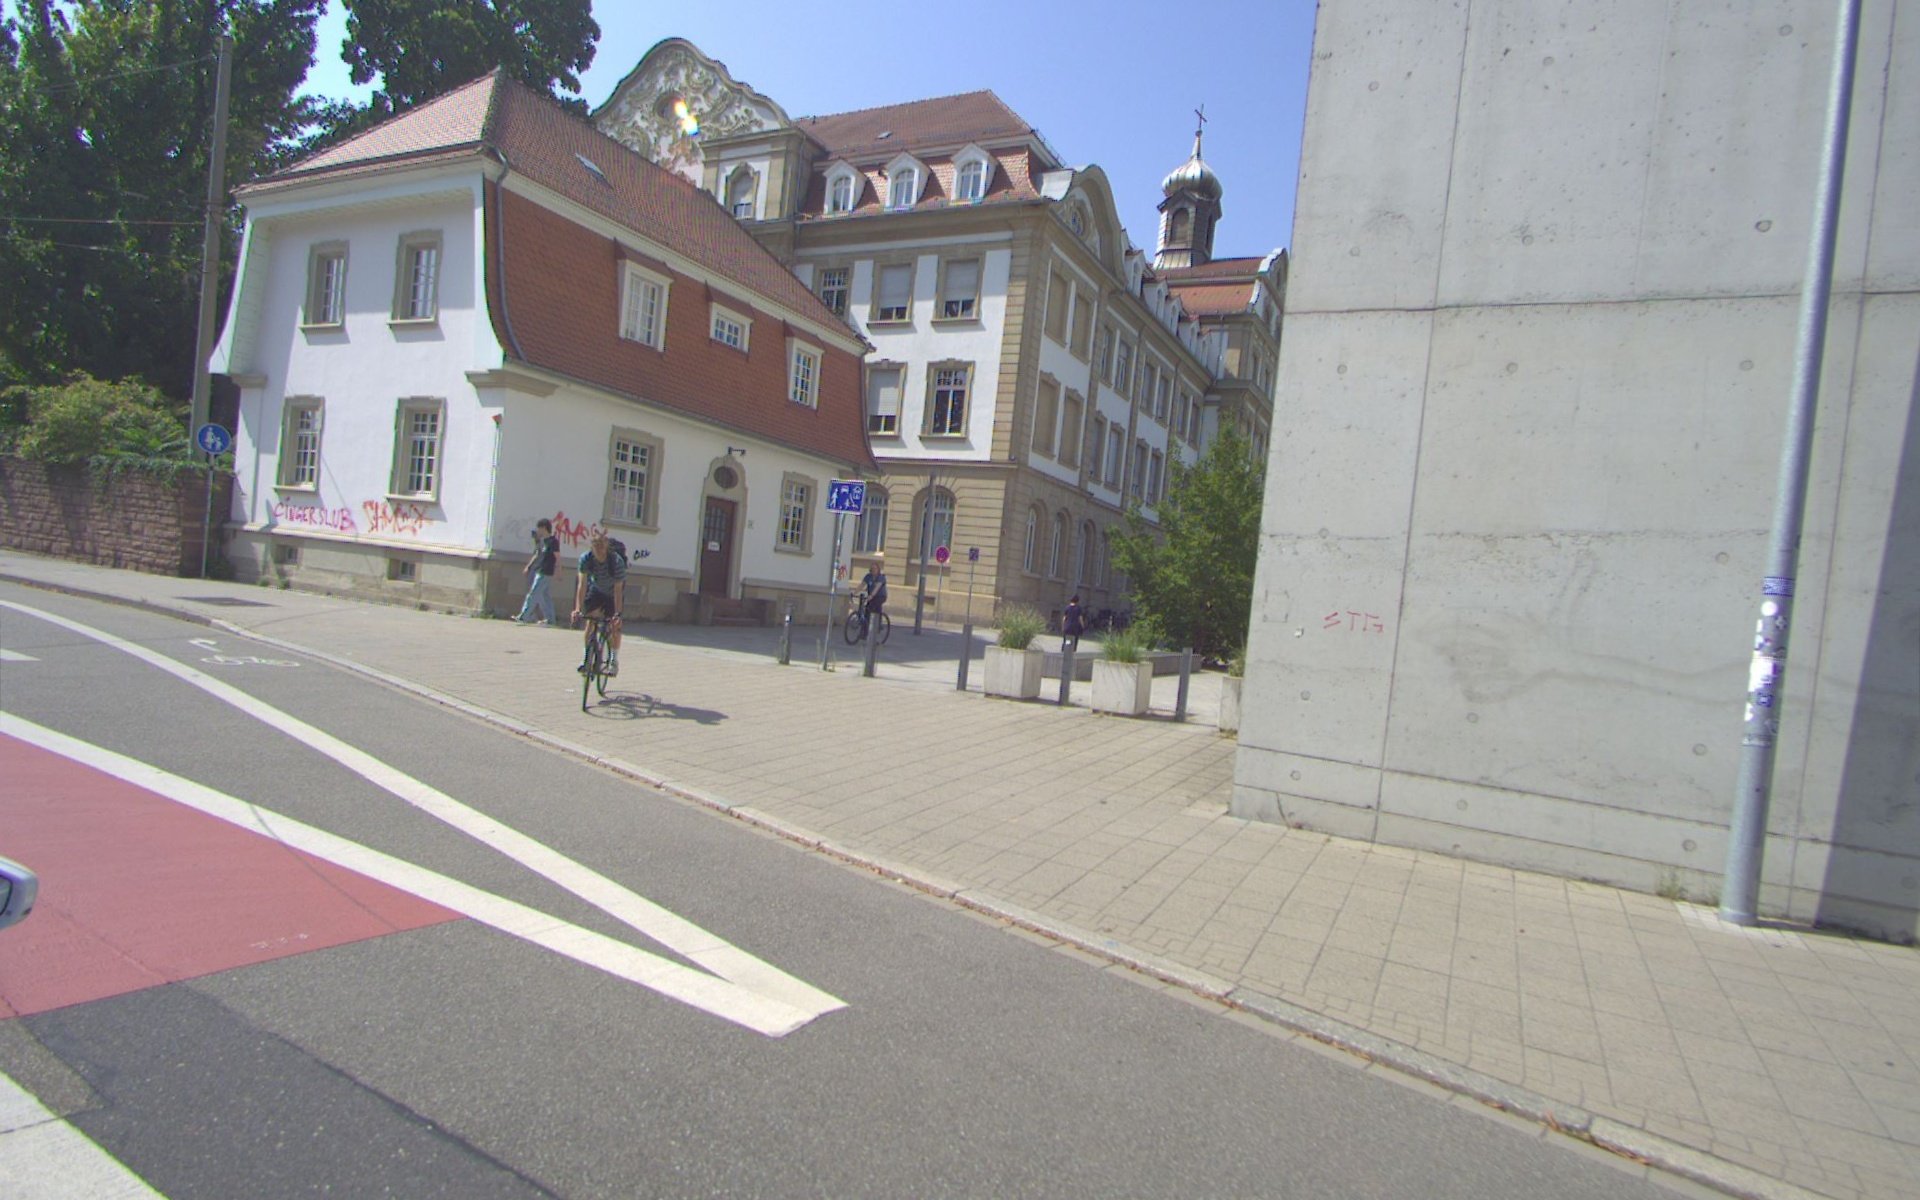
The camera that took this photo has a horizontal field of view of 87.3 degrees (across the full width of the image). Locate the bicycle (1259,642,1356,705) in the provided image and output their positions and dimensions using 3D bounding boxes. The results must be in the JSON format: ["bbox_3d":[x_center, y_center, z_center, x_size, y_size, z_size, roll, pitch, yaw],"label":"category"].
[{"bbox_3d":[6.898,1.437,20.004,1.642,1.013,0.613,7,4,39],"label":"bicycle"}]

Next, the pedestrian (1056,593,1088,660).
[{"bbox_3d":[2.820,0.657,25.334,0.592,1.599,0.741,6,2,10],"label":"pedestrian"}]

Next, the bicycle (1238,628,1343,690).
[{"bbox_3d":[5.985,1.063,18.256,1.658,0.967,0.618,4,0,34],"label":"bicycle"}]

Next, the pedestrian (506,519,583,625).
[{"bbox_3d":[-7.096,-0.476,17.194,0.720,1.687,0.874,7,1,44],"label":"pedestrian"}]

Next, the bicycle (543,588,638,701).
[{"bbox_3d":[-3.830,0.420,10.542,0.606,1.012,1.707,6,1,-12],"label":"bicycle"}]

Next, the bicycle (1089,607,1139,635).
[{"bbox_3d":[6.935,0.946,45.384,2.099,1.016,0.492,6,2,27],"label":"bicycle"}]

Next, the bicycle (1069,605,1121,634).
[{"bbox_3d":[5.750,0.836,42.959,2.099,1.016,0.492,6,2,27],"label":"bicycle"}]

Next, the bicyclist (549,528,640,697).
[{"bbox_3d":[-3.777,0.117,10.467,0.618,1.619,0.990,5,1,-12],"label":"bicyclist"}]

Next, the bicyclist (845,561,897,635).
[{"bbox_3d":[-1.964,-0.051,22.227,0.618,1.561,0.900,7,4,31],"label":"bicyclist"}]

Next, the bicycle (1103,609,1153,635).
[{"bbox_3d":[7.728,1.006,46.322,2.099,1.016,0.492,6,2,27],"label":"bicycle"}]

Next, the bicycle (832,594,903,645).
[{"bbox_3d":[-2.017,0.437,22.210,0.605,1.013,1.706,7,2,31],"label":"bicycle"}]

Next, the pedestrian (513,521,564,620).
[{"bbox_3d":[-7.494,-0.525,17.877,0.611,1.687,0.485,7,2,40],"label":"pedestrian"}]
